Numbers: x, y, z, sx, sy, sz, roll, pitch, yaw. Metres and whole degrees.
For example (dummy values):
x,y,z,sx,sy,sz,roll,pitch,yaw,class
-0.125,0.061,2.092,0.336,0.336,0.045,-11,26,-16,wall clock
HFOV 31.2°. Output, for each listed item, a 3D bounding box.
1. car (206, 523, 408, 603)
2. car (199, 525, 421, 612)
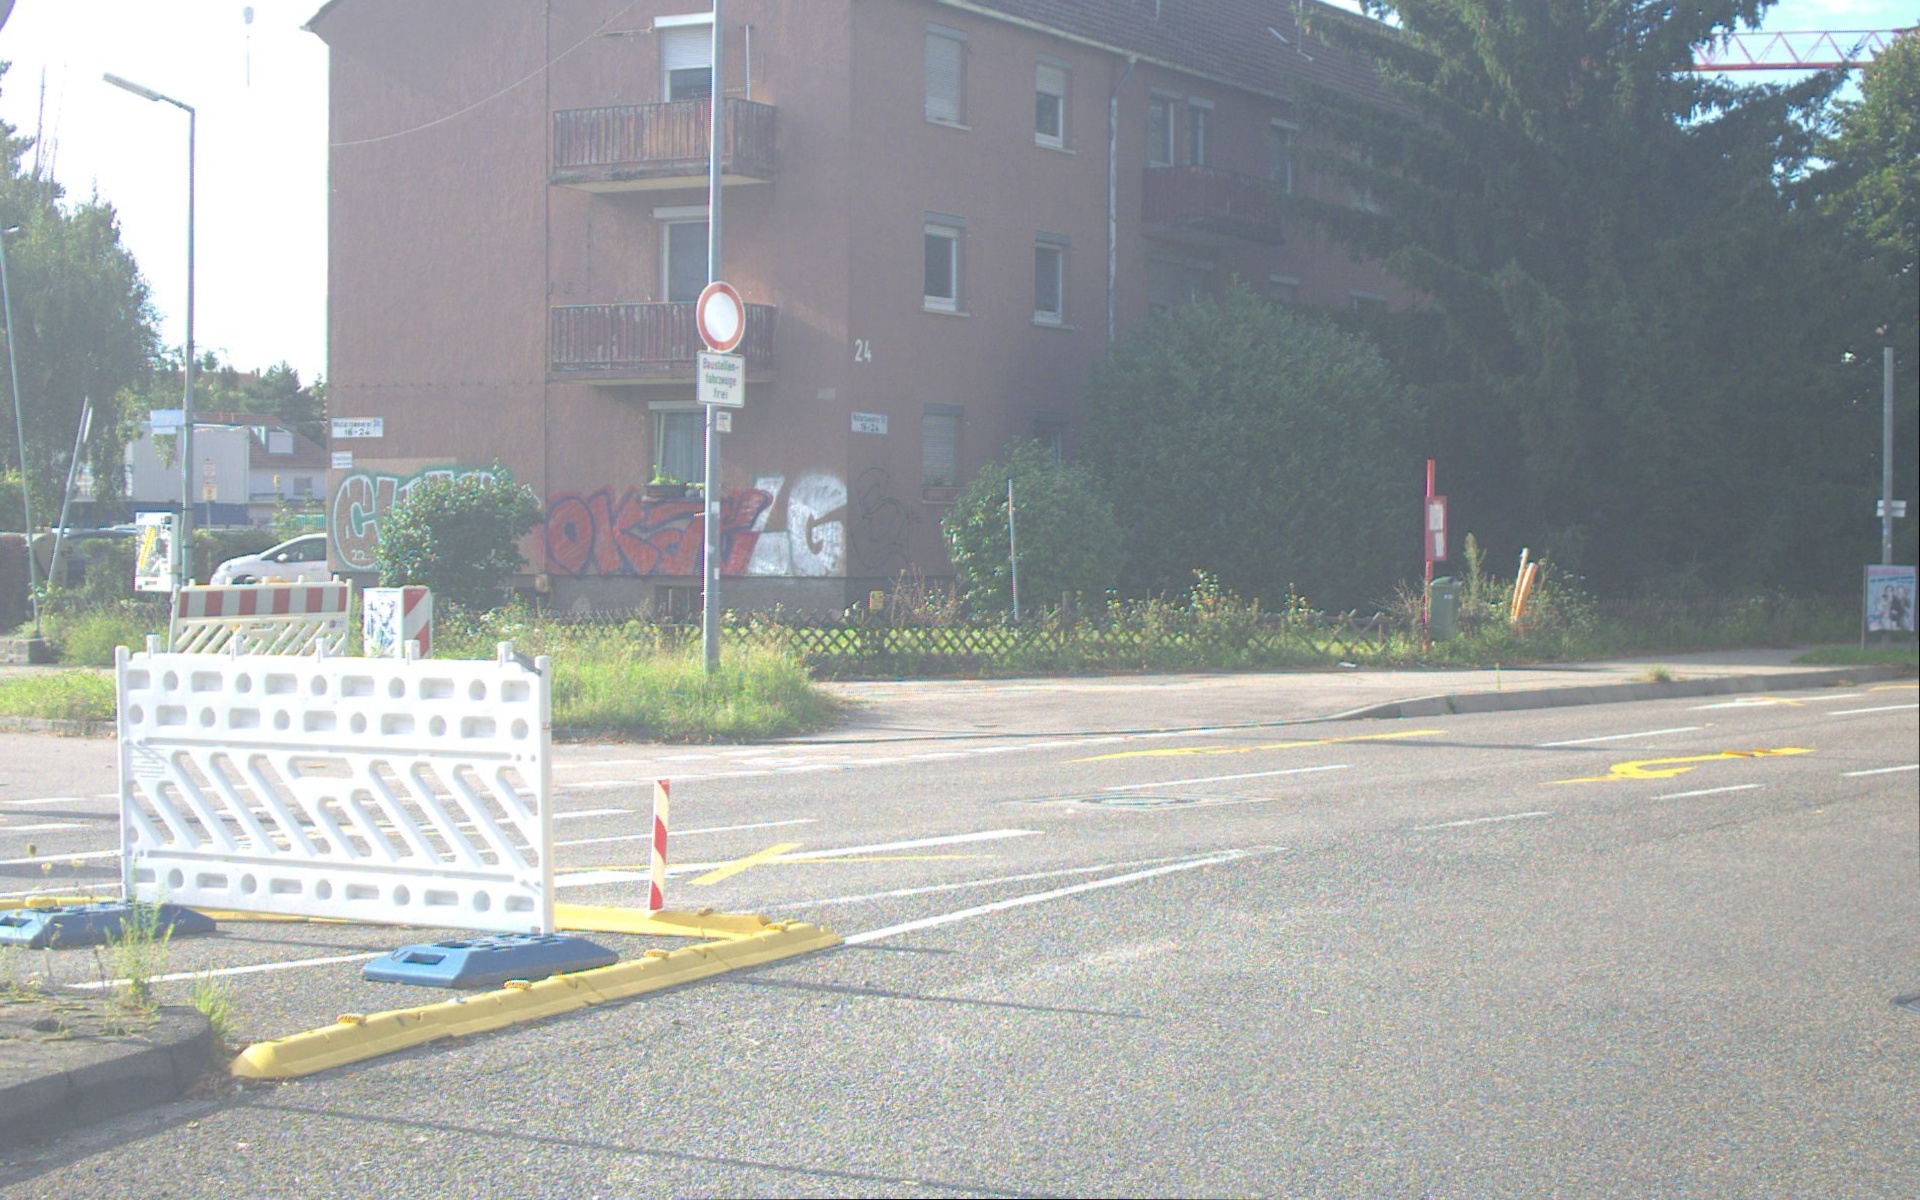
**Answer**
x,y,z,sx,sy,sz,roll,pitch,yaw,class
-13.583,-0.770,71.436,3.986,1.612,1.774,0,1,-15,car
-12.411,-0.606,65.776,3.986,1.612,1.773,1,1,-4,car
